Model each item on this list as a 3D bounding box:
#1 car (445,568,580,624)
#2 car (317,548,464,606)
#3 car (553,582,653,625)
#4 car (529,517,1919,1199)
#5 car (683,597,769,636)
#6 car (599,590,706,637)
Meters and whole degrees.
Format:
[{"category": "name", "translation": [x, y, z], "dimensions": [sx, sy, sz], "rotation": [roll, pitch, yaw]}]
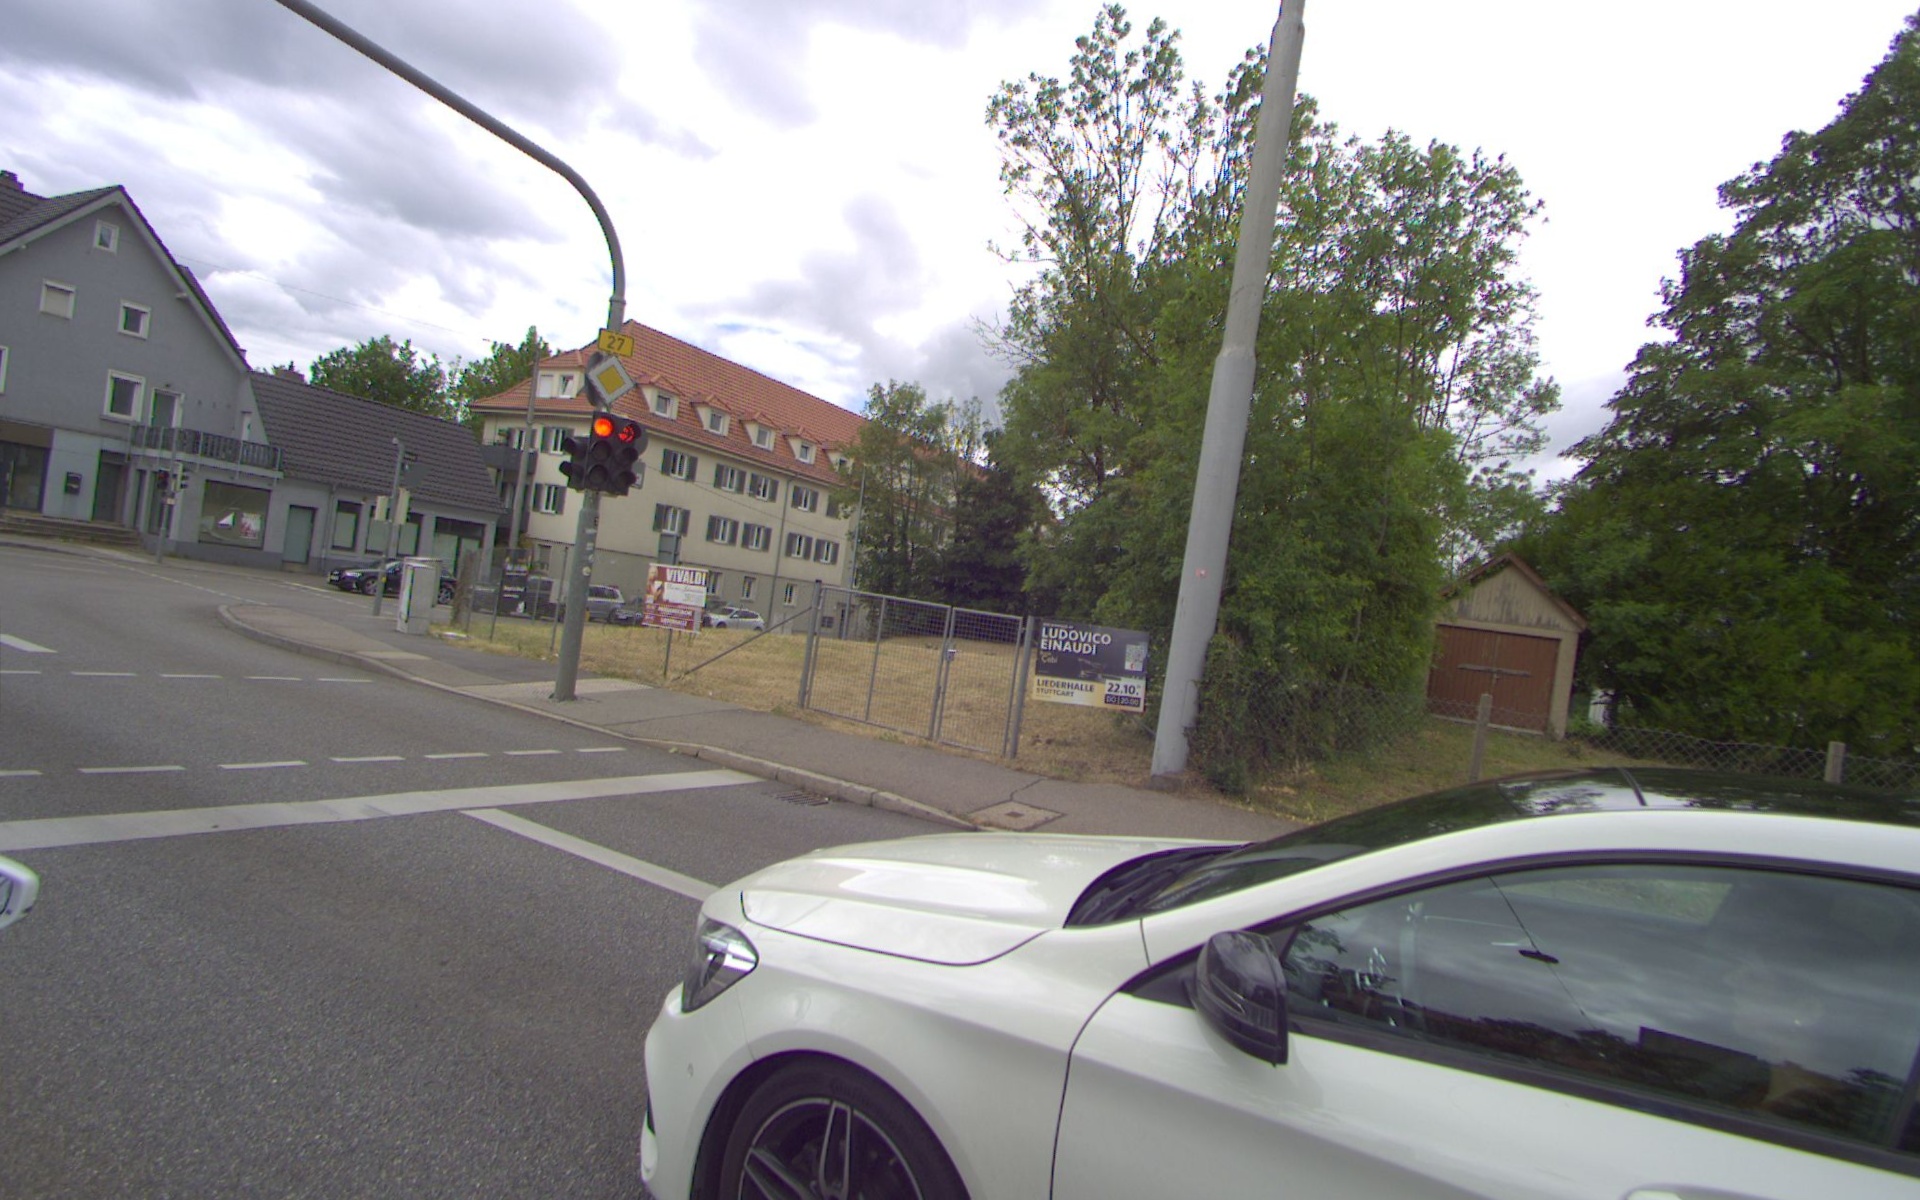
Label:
[{"category": "car", "translation": [-16.068, -0.111, 36.320], "dimensions": [1.769, 1.386, 4.099], "rotation": [7, -3, 30]}, {"category": "car", "translation": [-20.139, -0.770, 35.731], "dimensions": [1.769, 1.386, 4.099], "rotation": [7, -3, 30]}, {"category": "car", "translation": [-16.583, 0.172, 46.943], "dimensions": [1.769, 1.386, 4.099], "rotation": [7, -3, 30]}, {"category": "car", "translation": [1.550, 0.915, 1.909], "dimensions": [4.693, 1.524, 1.870], "rotation": [8, 0, 31]}, {"category": "car", "translation": [-11.673, 0.863, 50.397], "dimensions": [1.769, 1.386, 4.099], "rotation": [7, -3, 30]}, {"category": "car", "translation": [-12.946, 0.613, 42.587], "dimensions": [1.769, 1.386, 4.099], "rotation": [7, -3, 30]}]
